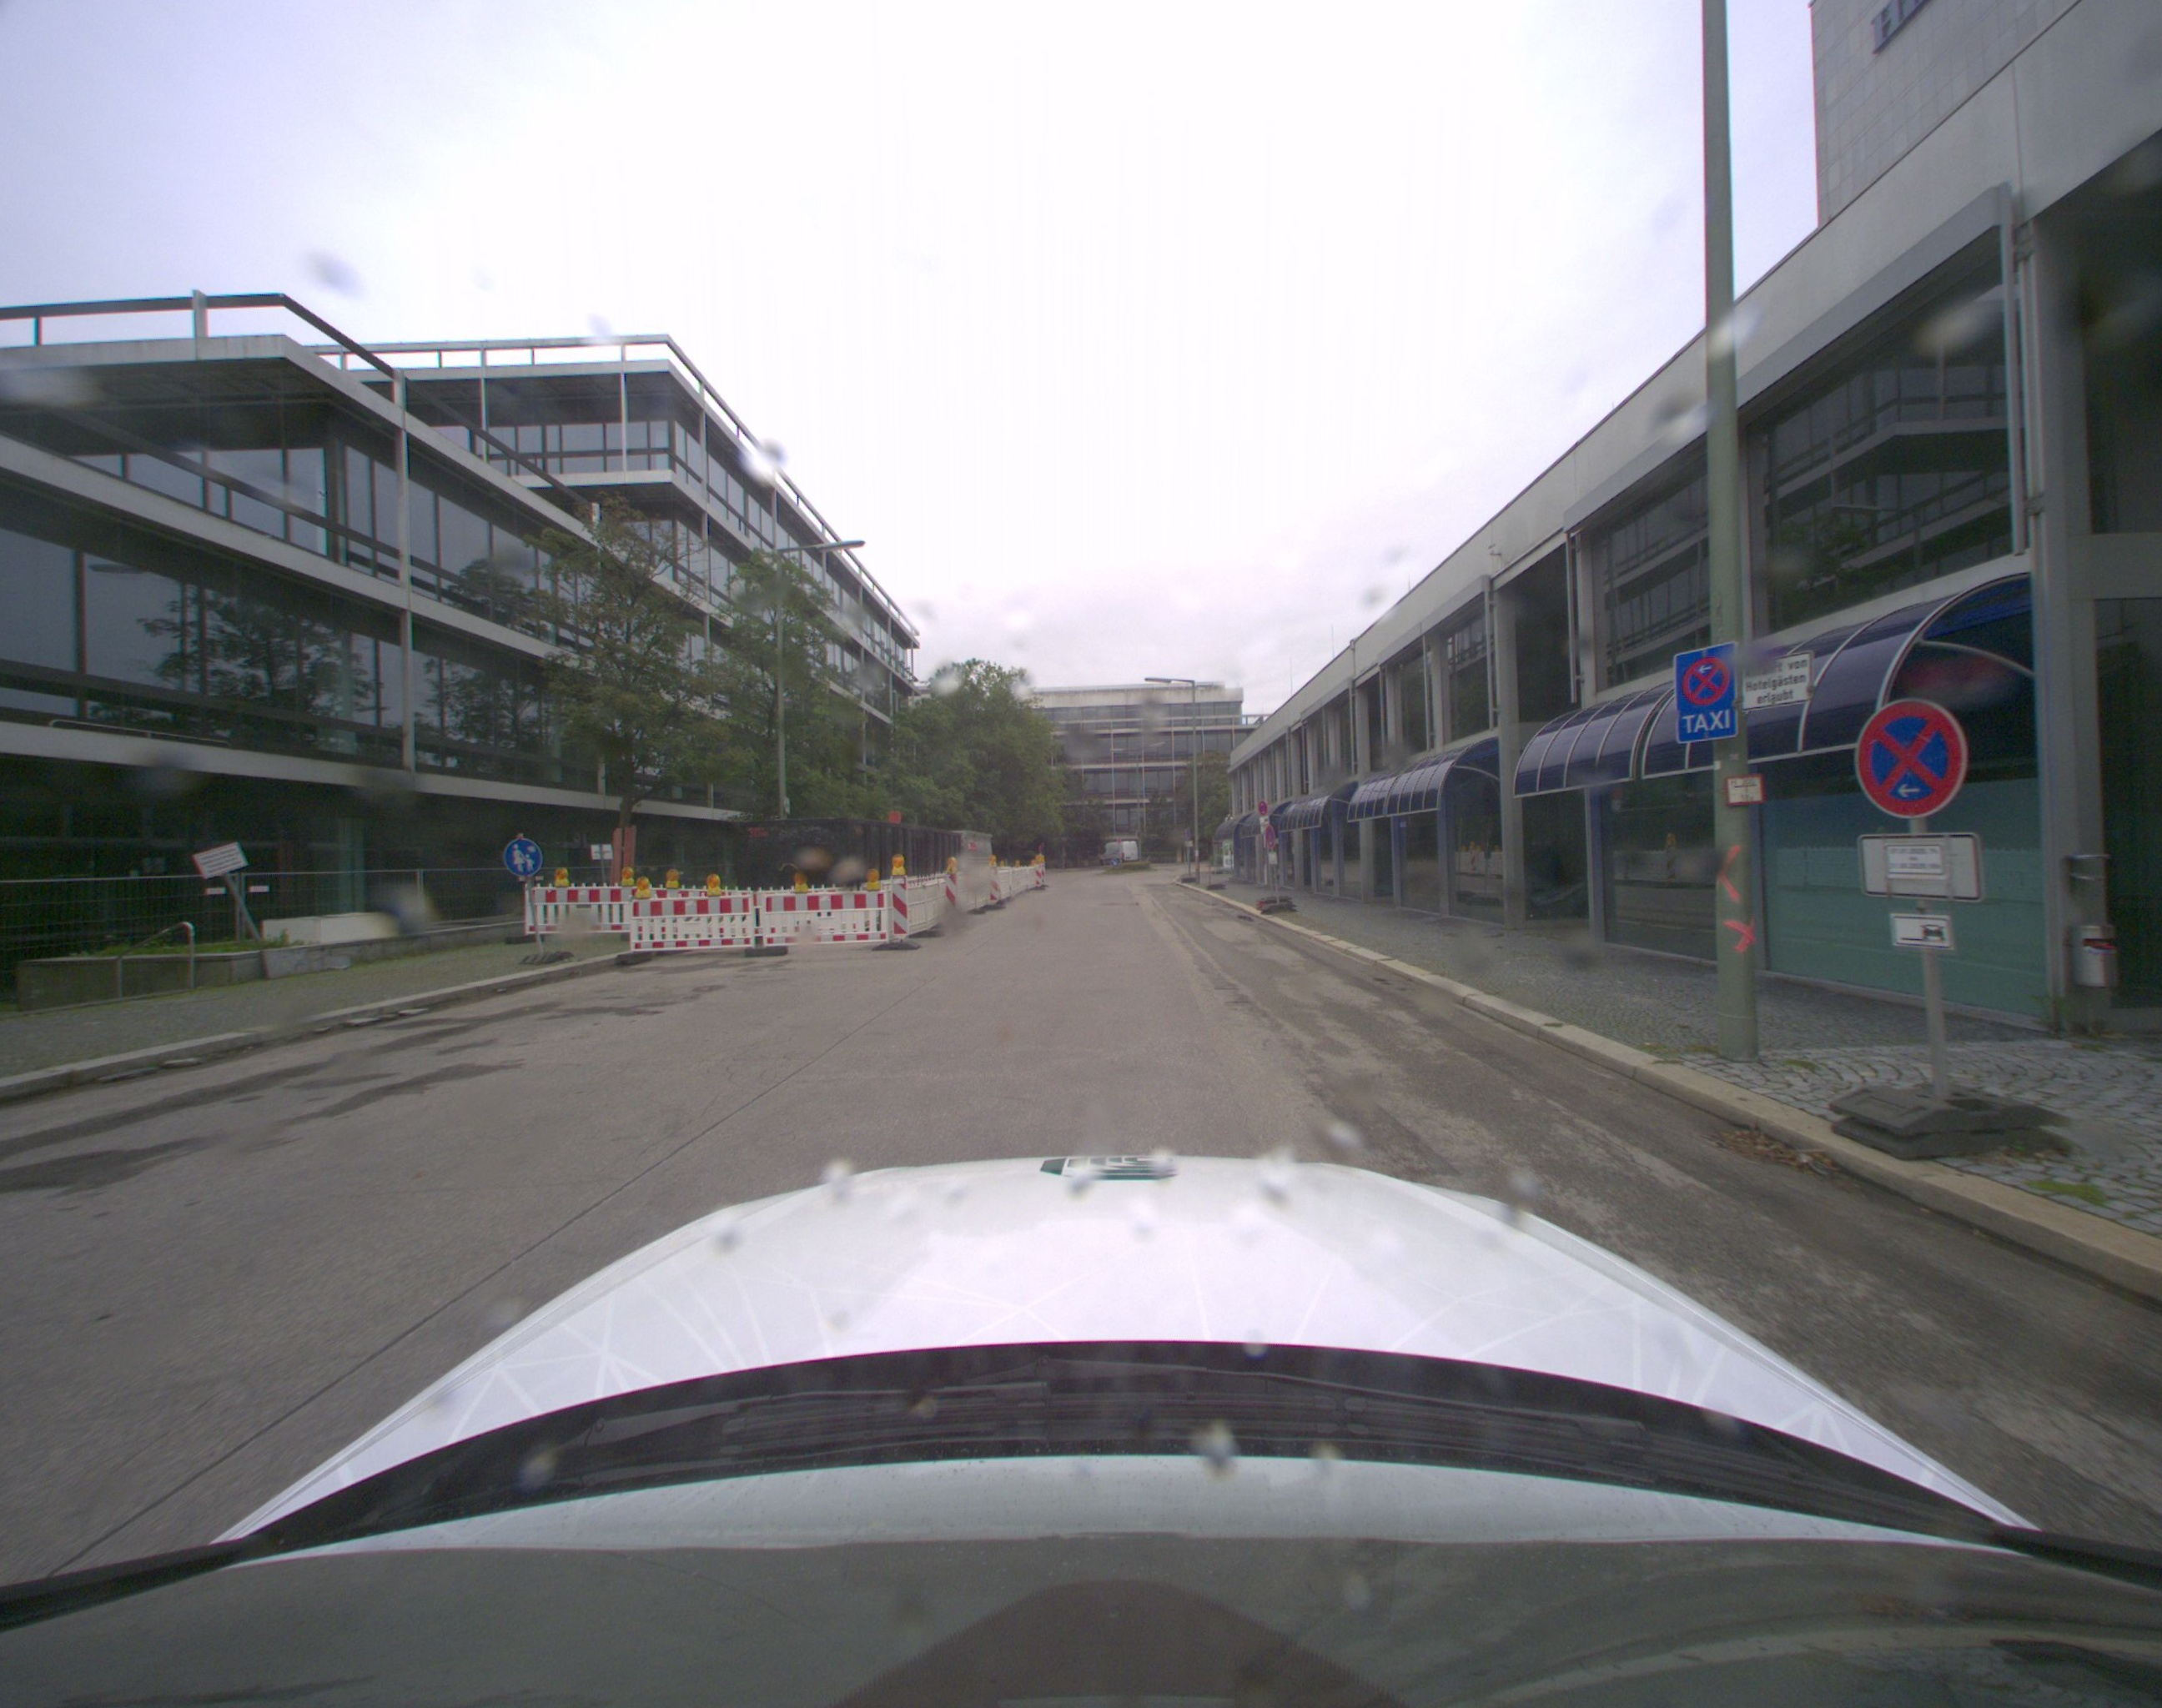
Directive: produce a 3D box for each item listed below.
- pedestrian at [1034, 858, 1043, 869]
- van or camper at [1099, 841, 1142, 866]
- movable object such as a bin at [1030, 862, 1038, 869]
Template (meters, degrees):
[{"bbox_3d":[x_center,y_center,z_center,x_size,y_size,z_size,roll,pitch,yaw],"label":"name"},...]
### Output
[{"bbox_3d":[-4.677,1.045,90.502,0.922,1.278,0.542,-2,0,4],"label":"pedestrian"},{"bbox_3d":[4.437,0.005,92.397,2.165,2.581,6.487,-1,-2,-23],"label":"van or camper"},{"bbox_3d":[-5.236,1.310,90.481,0.830,0.753,0.573,-2,0,4],"label":"movable object such as a bin"}]
